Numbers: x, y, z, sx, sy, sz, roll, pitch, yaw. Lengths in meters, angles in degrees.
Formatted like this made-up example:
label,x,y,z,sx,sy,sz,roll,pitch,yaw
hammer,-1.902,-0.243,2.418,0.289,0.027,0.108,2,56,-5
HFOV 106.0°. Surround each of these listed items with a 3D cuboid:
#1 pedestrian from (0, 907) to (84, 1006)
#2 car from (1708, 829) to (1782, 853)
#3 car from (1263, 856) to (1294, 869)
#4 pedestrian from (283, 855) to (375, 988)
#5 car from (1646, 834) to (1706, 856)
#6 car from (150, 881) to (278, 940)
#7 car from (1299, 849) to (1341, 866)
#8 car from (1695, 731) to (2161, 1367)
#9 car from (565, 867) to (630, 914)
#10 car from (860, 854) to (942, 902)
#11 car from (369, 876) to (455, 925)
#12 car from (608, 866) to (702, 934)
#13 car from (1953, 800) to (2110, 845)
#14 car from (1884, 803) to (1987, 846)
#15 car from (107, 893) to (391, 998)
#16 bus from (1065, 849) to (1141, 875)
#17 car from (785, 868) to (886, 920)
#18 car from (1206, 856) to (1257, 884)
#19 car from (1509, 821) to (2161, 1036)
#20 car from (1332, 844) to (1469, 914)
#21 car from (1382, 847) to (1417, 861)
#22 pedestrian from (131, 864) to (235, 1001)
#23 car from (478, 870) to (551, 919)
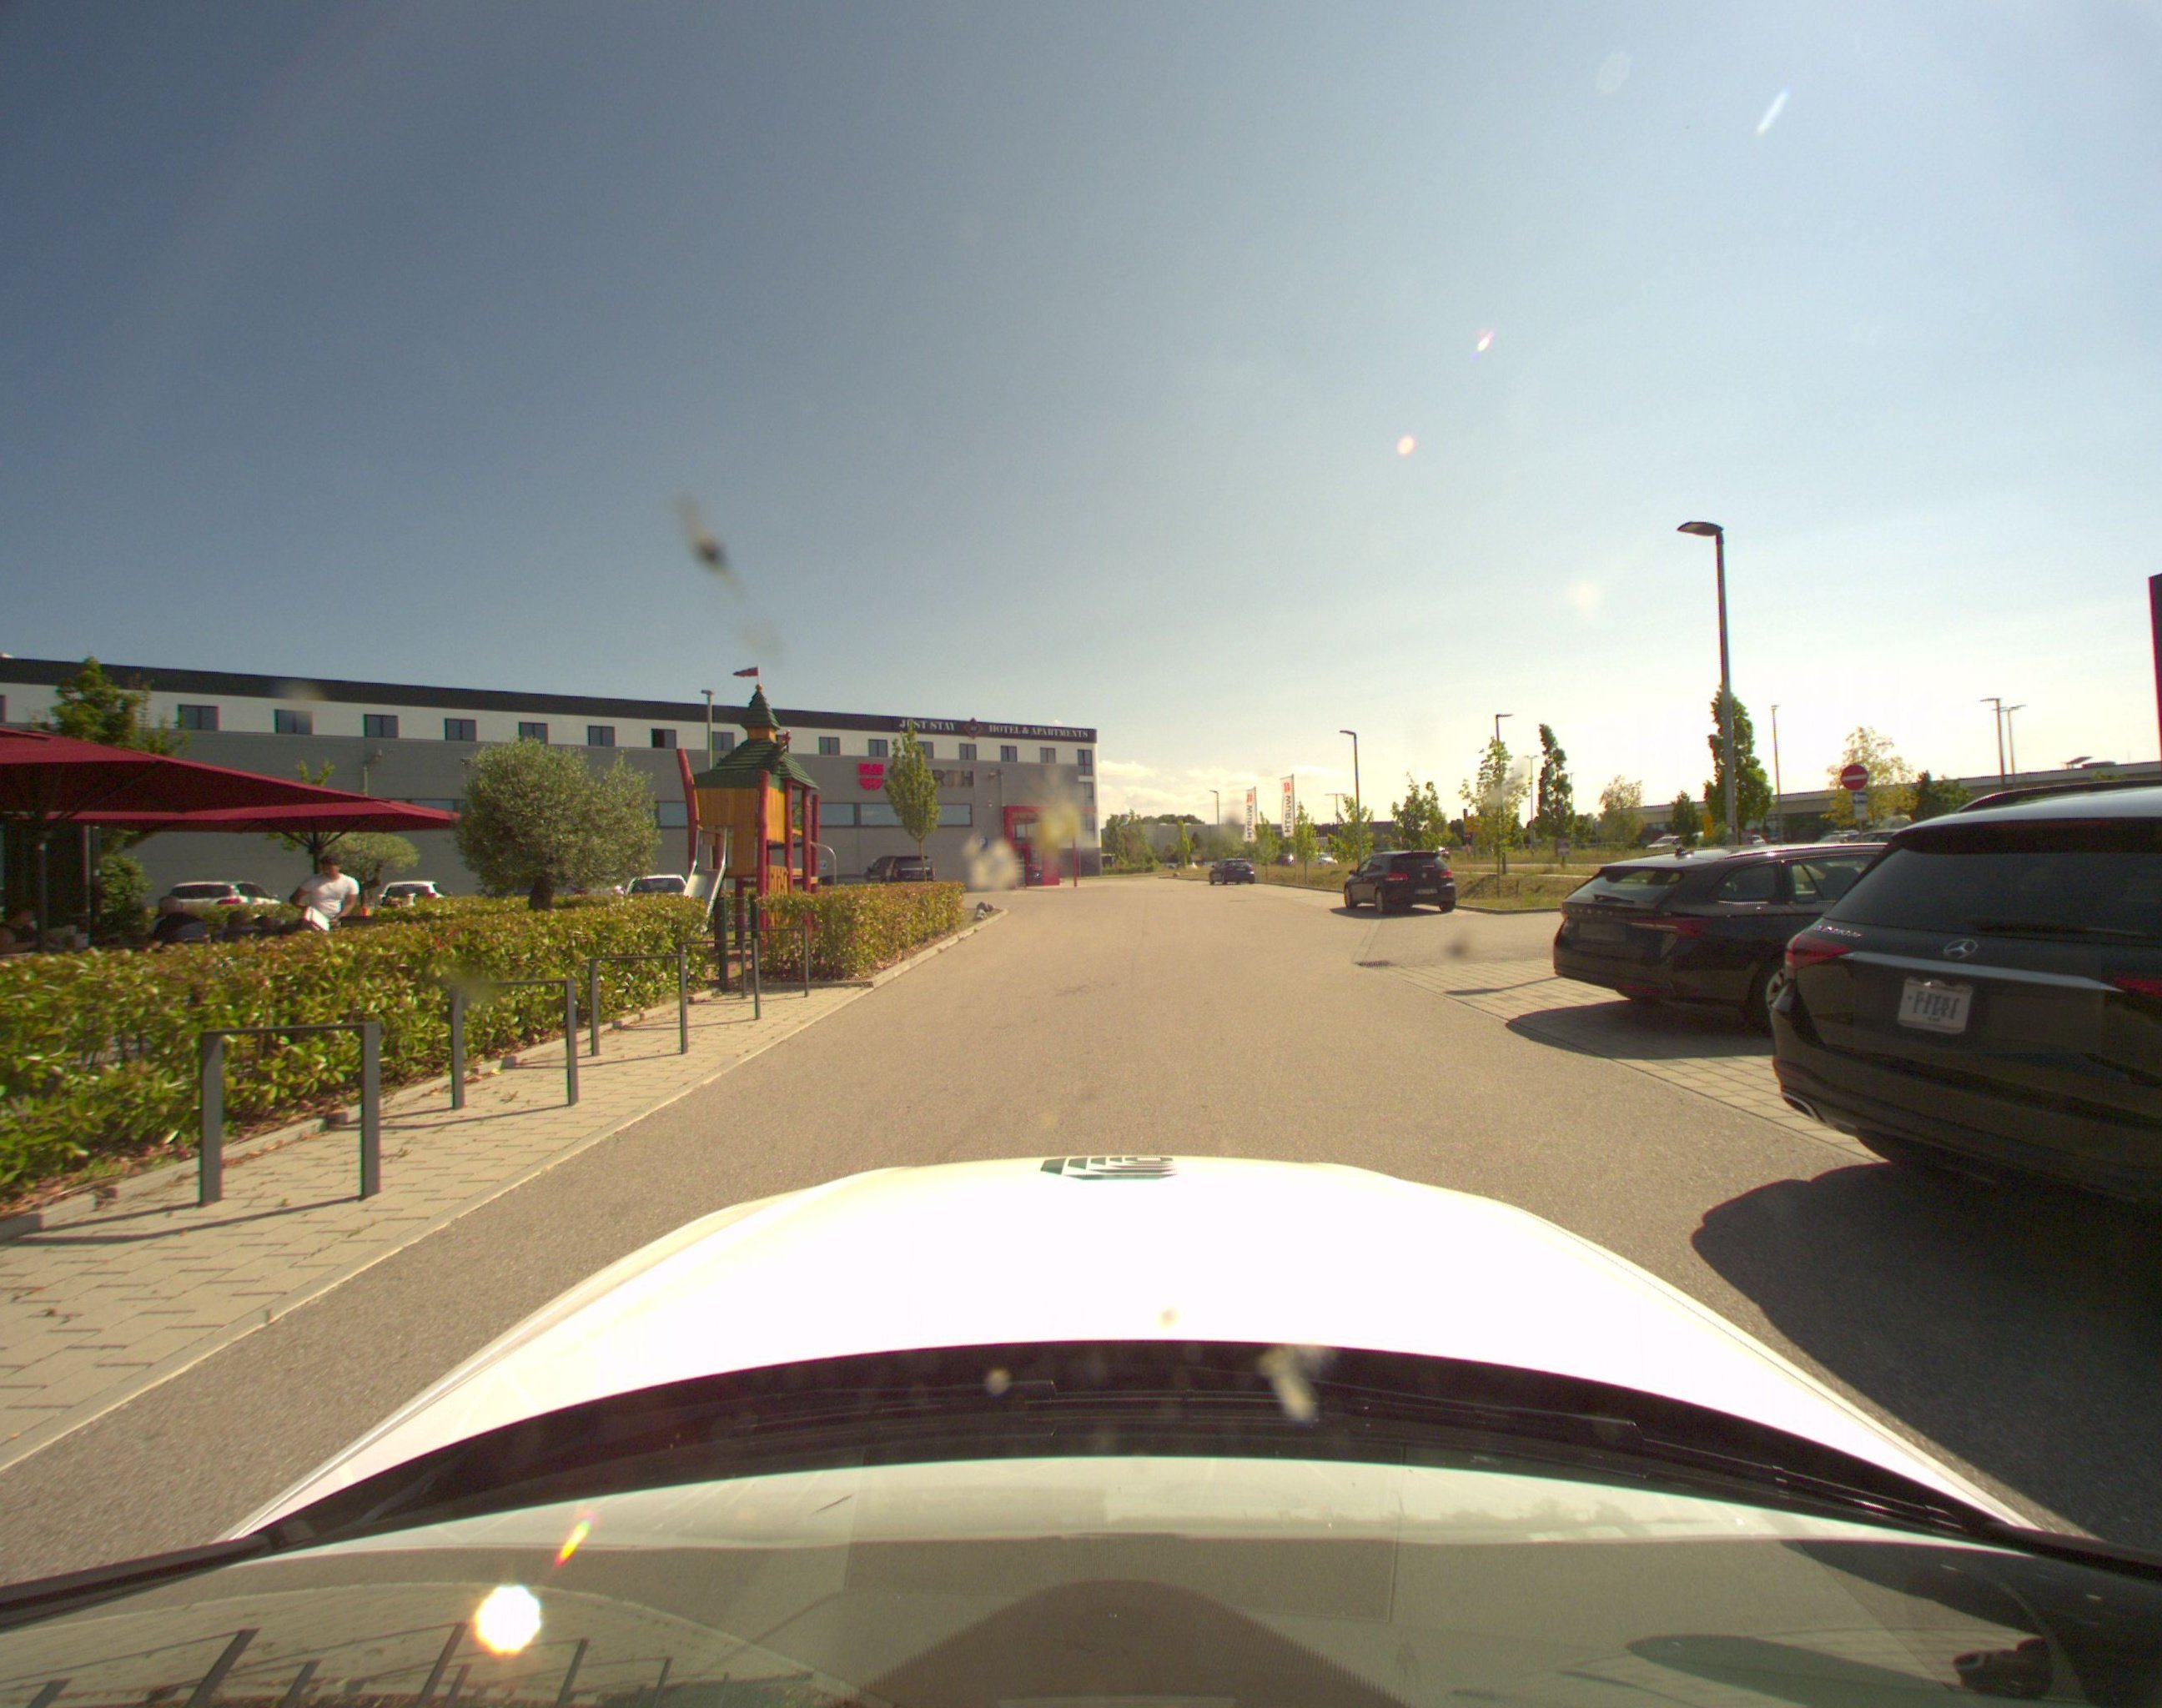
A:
label,x,y,z,sx,sy,sz,roll,pitch,yaw
pedestrian,-12.453,1.200,9.649,0.575,1.089,0.544,-2,0,-4
car,51.393,-0.989,63.066,4.406,1.726,1.995,-2,0,-8
car,22.629,0.964,93.416,1.653,1.385,3.488,-2,0,-21
pedestrian,-10.139,0.872,11.015,0.789,1.687,0.754,-2,0,-36
car,49.472,-0.737,67.767,3.647,1.618,1.839,-2,0,-2
car,-26.999,1.694,25.514,1.743,1.567,3.911,-2,0,-32
car,22.354,0.324,76.267,1.878,1.483,3.975,-2,0,-18
car,5.235,0.505,3.028,4.565,1.760,1.893,-1,-1,-3
car,-18.505,1.334,31.143,1.961,1.586,4.332,-2,0,-32
car,-7.943,1.017,35.612,2.084,1.880,4.831,-2,0,-30
car,-23.076,1.541,28.215,1.743,1.487,3.911,-2,0,-32
car,-11.230,1.136,21.610,1.958,1.530,4.338,-2,0,-27
car,53.567,-1.742,45.967,6.286,2.237,2.810,-2,0,-8
car,52.804,-1.805,50.350,5.062,2.455,1.992,-2,0,-11
car,-13.537,1.392,13.602,1.647,1.308,3.818,-2,-1,-17
bus,3.302,1.221,122.623,11.133,3.557,2.585,-2,0,14
car,-7.577,1.162,24.884,1.875,1.362,4.332,-2,0,-32
car,8.253,0.873,45.026,1.696,1.406,3.888,-1,-1,-6
car,6.558,0.569,7.325,4.430,1.487,1.875,-2,0,-3
car,7.926,0.580,20.645,1.830,1.477,4.120,-4,-1,1
car,36.728,-0.006,93.909,3.721,1.395,1.577,-2,-1,-25
pedestrian,-11.303,0.949,10.251,0.753,1.614,0.791,-2,0,37
car,-20.445,1.410,29.511,1.892,1.586,4.067,-2,0,-32
